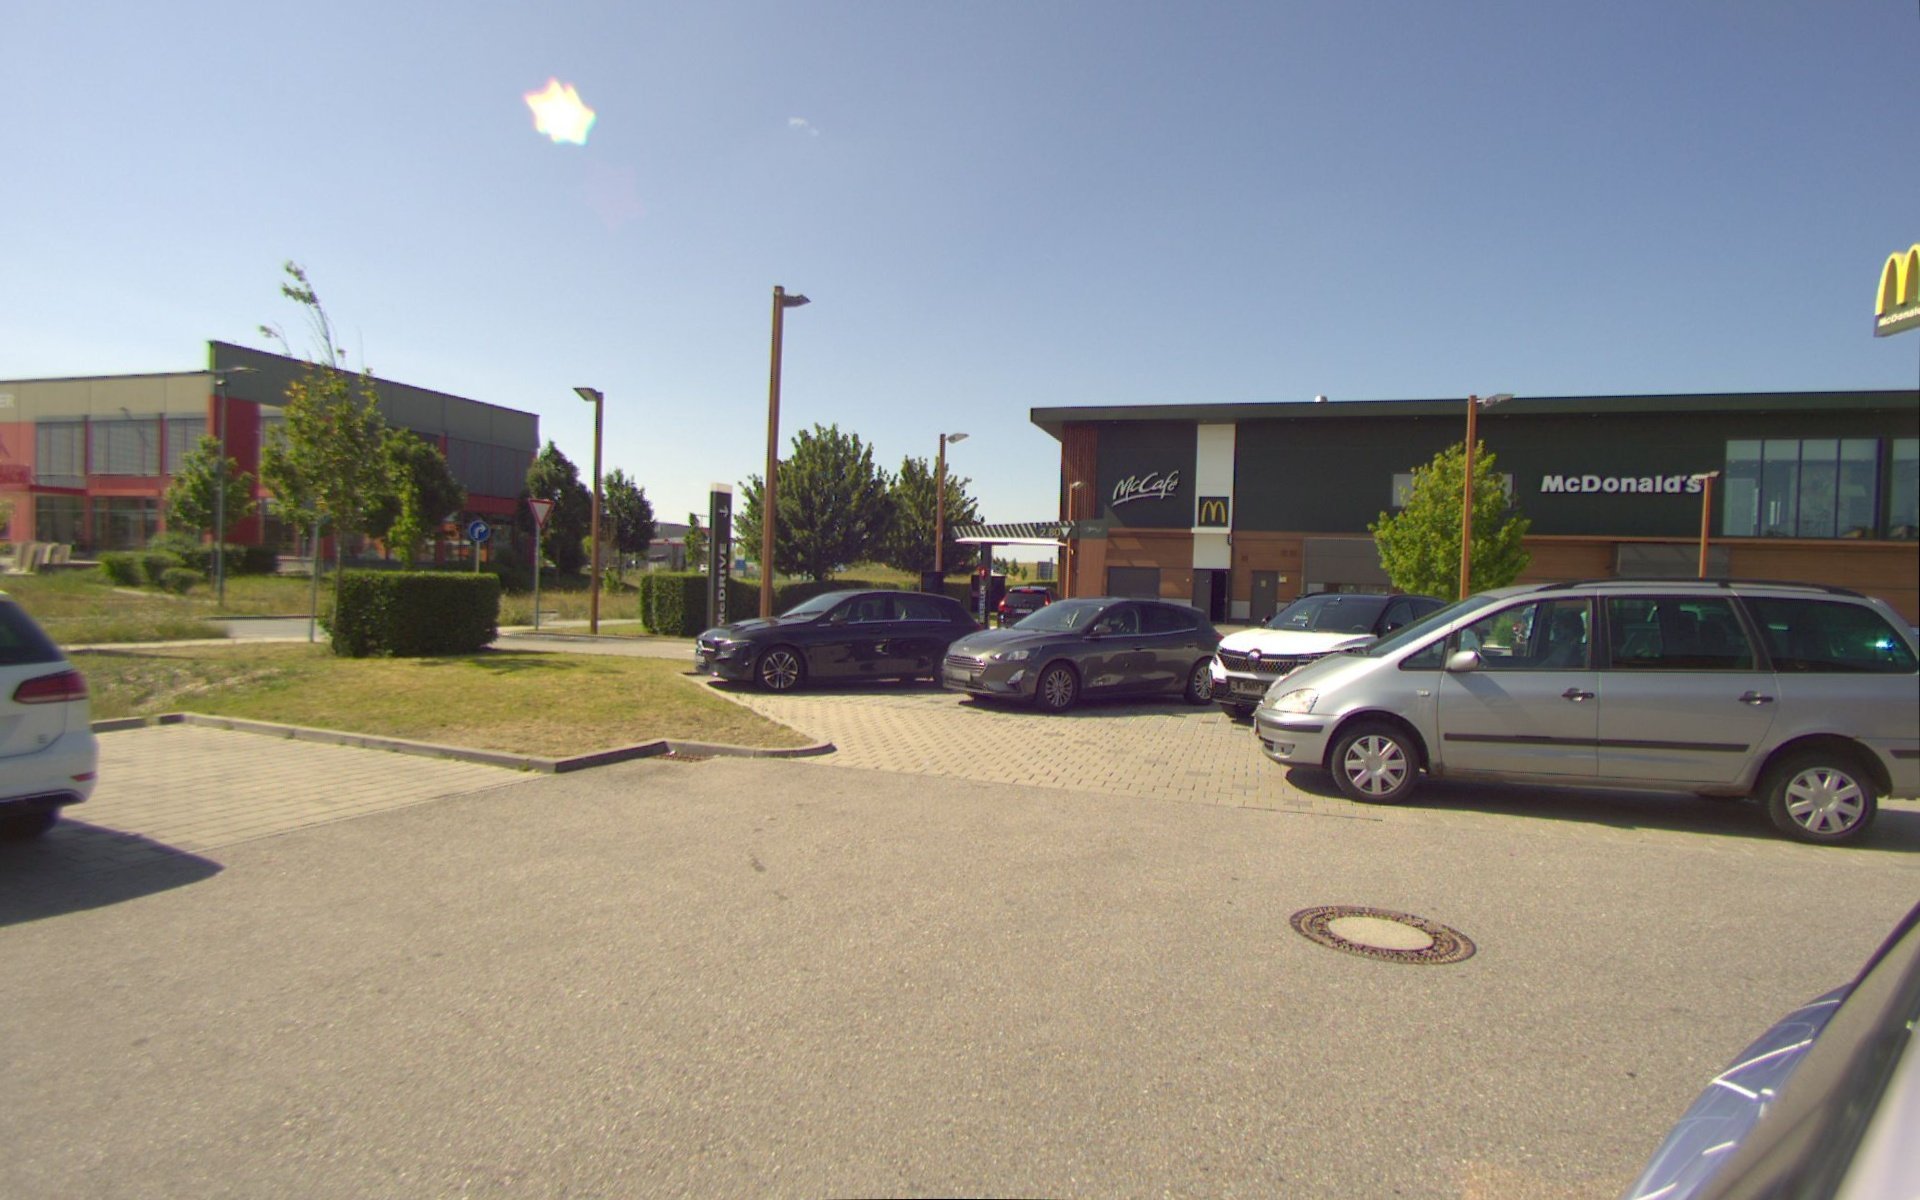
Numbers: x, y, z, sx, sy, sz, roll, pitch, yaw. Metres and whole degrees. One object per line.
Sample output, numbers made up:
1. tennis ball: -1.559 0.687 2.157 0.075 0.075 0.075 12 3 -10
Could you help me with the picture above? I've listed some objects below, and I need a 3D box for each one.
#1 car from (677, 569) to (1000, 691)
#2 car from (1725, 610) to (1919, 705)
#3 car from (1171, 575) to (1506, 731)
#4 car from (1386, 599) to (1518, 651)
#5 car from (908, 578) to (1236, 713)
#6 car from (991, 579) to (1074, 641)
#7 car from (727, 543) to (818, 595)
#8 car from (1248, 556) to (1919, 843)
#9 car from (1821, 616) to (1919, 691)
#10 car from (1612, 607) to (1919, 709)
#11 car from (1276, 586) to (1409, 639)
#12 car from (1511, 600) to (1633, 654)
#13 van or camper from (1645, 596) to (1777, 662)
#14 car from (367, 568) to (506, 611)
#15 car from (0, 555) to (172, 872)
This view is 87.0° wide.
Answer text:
1. car: -1.766 0.409 14.859 4.245 1.545 1.978 2 1 -29
2. car: 16.926 1.035 18.658 1.776 1.534 4.122 1 1 -27
3. car: 4.904 0.603 12.948 4.126 1.675 1.976 2 0 -34
4. car: 15.769 0.796 32.386 4.383 1.484 1.962 2 0 -36
5. car: 1.584 0.552 13.713 4.127 1.545 1.975 2 0 -36
6. car: 2.344 0.261 31.804 1.967 1.712 4.220 2 1 12
7. car: -8.602 -1.385 46.980 1.974 2.224 5.076 2 0 18
8. car: 4.690 0.612 7.939 4.620 1.770 1.823 2 1 17
9. car: 21.258 1.175 21.100 1.857 1.505 4.652 1 1 -27
10. car: 14.483 0.952 18.415 1.676 1.511 4.122 1 1 -27
11. car: 12.901 0.421 34.032 4.380 1.622 1.963 2 0 -33
12. car: 18.865 0.807 31.151 3.873 1.534 1.715 1 0 -33
13. van or camper: 22.412 0.859 30.184 3.947 1.797 1.714 2 0 -30
14. car: -21.585 -0.403 41.936 1.986 1.645 4.749 2 1 33
15. car: -6.590 0.504 5.504 4.433 1.487 1.818 1 1 25
